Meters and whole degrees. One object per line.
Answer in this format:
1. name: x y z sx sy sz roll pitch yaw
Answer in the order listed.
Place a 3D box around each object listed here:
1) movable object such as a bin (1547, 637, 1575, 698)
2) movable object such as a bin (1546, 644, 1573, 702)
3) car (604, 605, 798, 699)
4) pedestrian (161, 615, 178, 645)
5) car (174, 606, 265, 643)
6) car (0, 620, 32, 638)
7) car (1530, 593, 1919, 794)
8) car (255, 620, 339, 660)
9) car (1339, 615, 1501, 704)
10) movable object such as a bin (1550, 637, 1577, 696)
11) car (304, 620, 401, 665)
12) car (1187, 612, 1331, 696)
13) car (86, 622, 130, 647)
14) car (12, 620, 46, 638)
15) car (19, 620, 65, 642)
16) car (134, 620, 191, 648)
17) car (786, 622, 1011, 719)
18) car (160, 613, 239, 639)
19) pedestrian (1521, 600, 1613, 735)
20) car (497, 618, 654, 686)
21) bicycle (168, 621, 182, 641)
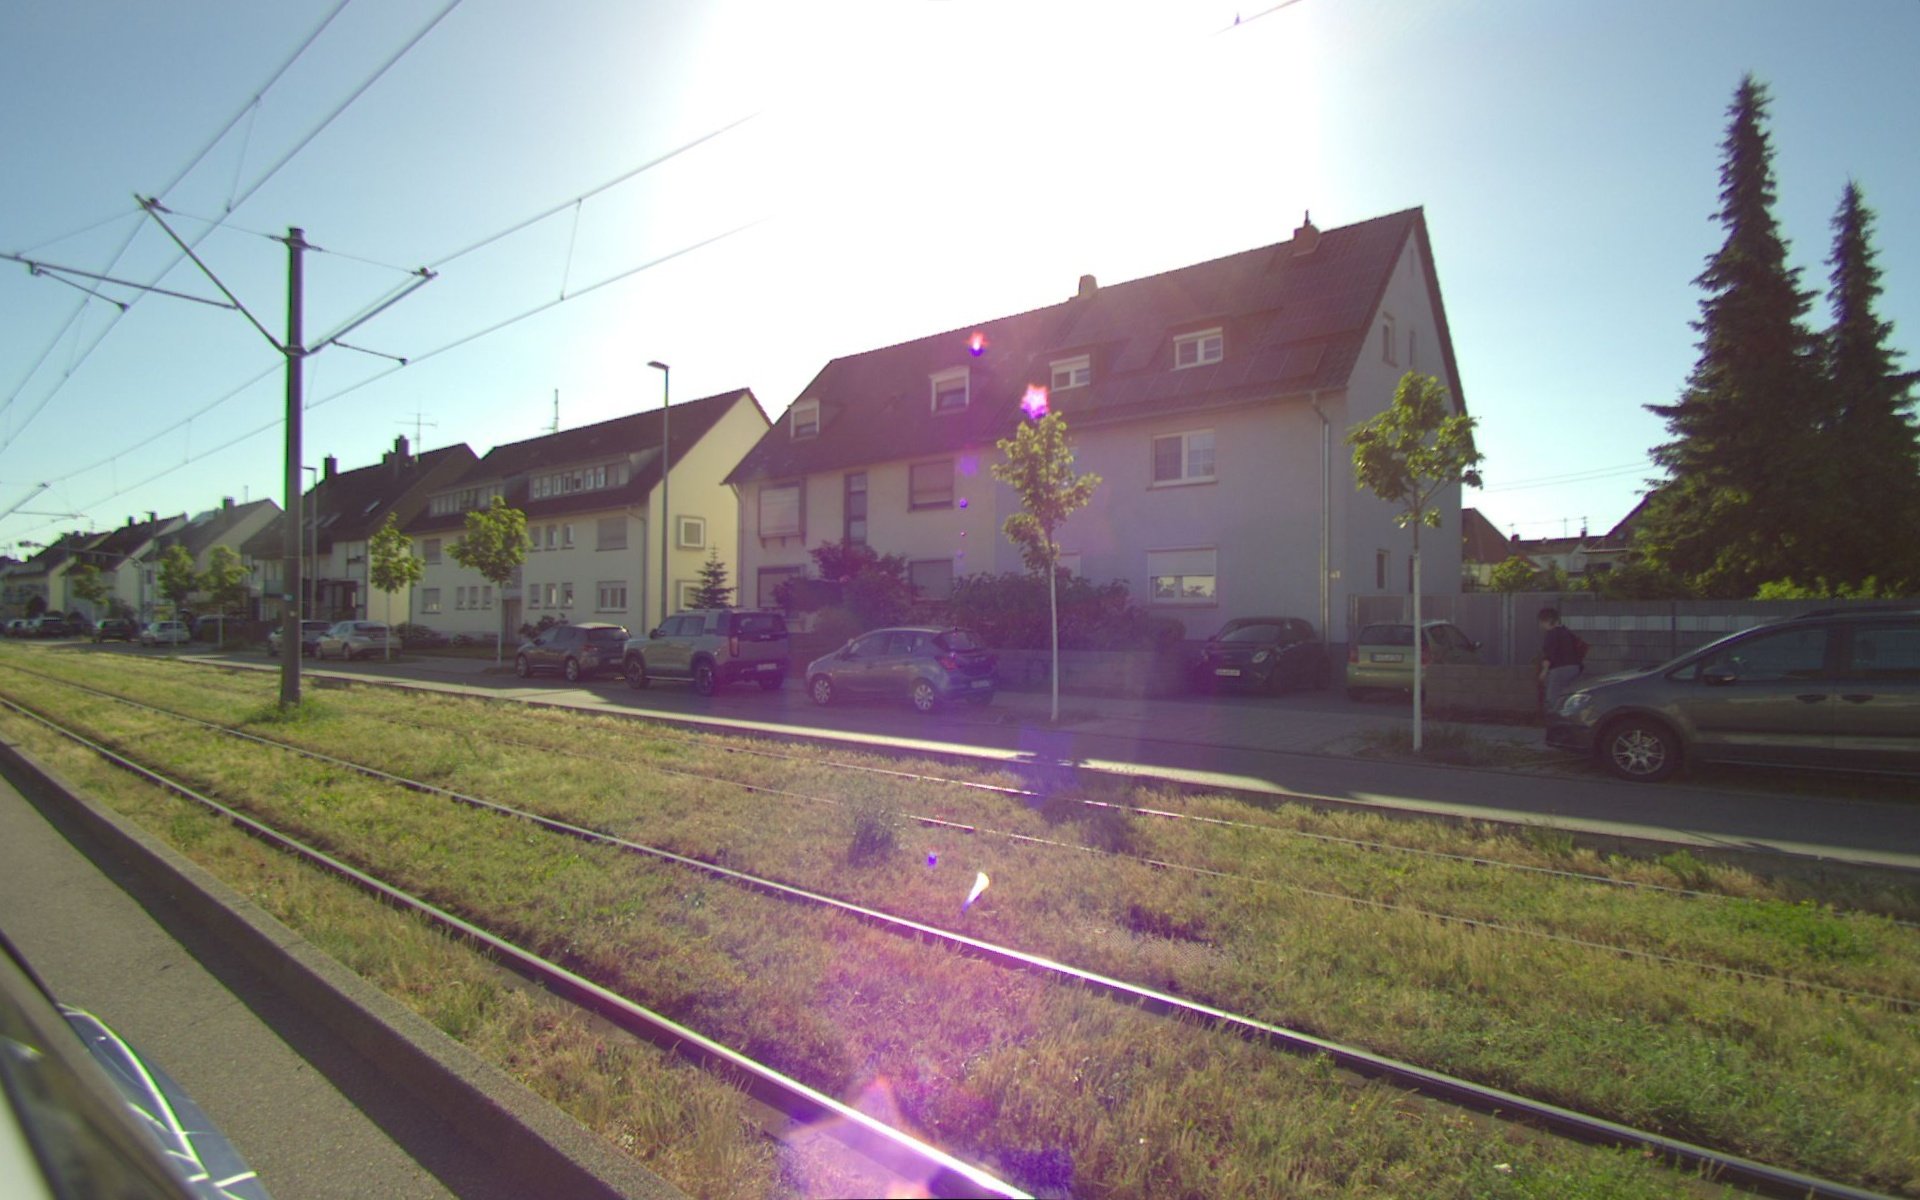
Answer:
1. movable object such as a bin: 10.883 1.203 18.319 0.337 1.071 0.582 -1 -1 41
2. movable object such as a bin: 10.470 1.264 17.670 0.296 0.977 0.586 -1 -2 41
3. car: -5.830 1.071 22.414 4.839 1.836 1.727 -1 0 42
4. pedestrian: -48.371 1.846 61.898 0.676 1.829 0.611 -1 0 32
5. car: -47.880 1.559 65.540 1.786 2.096 4.415 0 2 41
6. car: -78.939 2.398 84.464 4.396 1.466 1.637 -1 0 40
7. car: 8.396 0.798 9.696 4.844 1.697 1.800 -1 0 42
8. car: -27.041 1.592 41.232 4.311 1.484 1.672 0 0 40
9. car: 8.580 1.019 18.741 1.705 1.485 3.573 -1 -1 43
10. movable object such as a bin: 11.299 1.237 18.946 0.337 1.045 0.626 -1 0 41
11. car: -22.369 1.501 37.200 4.439 1.486 1.672 0 0 40
12. car: 6.101 1.009 20.396 1.688 1.472 3.599 0 0 36
13. car: -54.389 2.192 64.589 4.083 1.523 1.602 -1 0 41
14. car: -74.901 2.340 81.404 3.994 1.479 1.451 -2 -2 39
15. car: -70.896 2.335 78.121 4.853 1.572 1.902 0 0 39
16. car: -44.389 1.867 56.312 4.099 1.447 1.641 -1 -1 40
17. car: -1.185 1.194 18.434 4.046 1.502 1.660 -1 0 39
18. car: -56.245 1.910 74.872 1.968 1.797 4.348 -2 -2 39
19. pedestrian: 7.793 0.835 12.986 0.919 1.652 0.689 0 0 39
20. car: -10.137 1.279 26.493 4.555 1.552 1.940 0 0 41
21. bicycle: -48.236 1.879 62.174 0.471 1.172 1.873 -1 0 -44
